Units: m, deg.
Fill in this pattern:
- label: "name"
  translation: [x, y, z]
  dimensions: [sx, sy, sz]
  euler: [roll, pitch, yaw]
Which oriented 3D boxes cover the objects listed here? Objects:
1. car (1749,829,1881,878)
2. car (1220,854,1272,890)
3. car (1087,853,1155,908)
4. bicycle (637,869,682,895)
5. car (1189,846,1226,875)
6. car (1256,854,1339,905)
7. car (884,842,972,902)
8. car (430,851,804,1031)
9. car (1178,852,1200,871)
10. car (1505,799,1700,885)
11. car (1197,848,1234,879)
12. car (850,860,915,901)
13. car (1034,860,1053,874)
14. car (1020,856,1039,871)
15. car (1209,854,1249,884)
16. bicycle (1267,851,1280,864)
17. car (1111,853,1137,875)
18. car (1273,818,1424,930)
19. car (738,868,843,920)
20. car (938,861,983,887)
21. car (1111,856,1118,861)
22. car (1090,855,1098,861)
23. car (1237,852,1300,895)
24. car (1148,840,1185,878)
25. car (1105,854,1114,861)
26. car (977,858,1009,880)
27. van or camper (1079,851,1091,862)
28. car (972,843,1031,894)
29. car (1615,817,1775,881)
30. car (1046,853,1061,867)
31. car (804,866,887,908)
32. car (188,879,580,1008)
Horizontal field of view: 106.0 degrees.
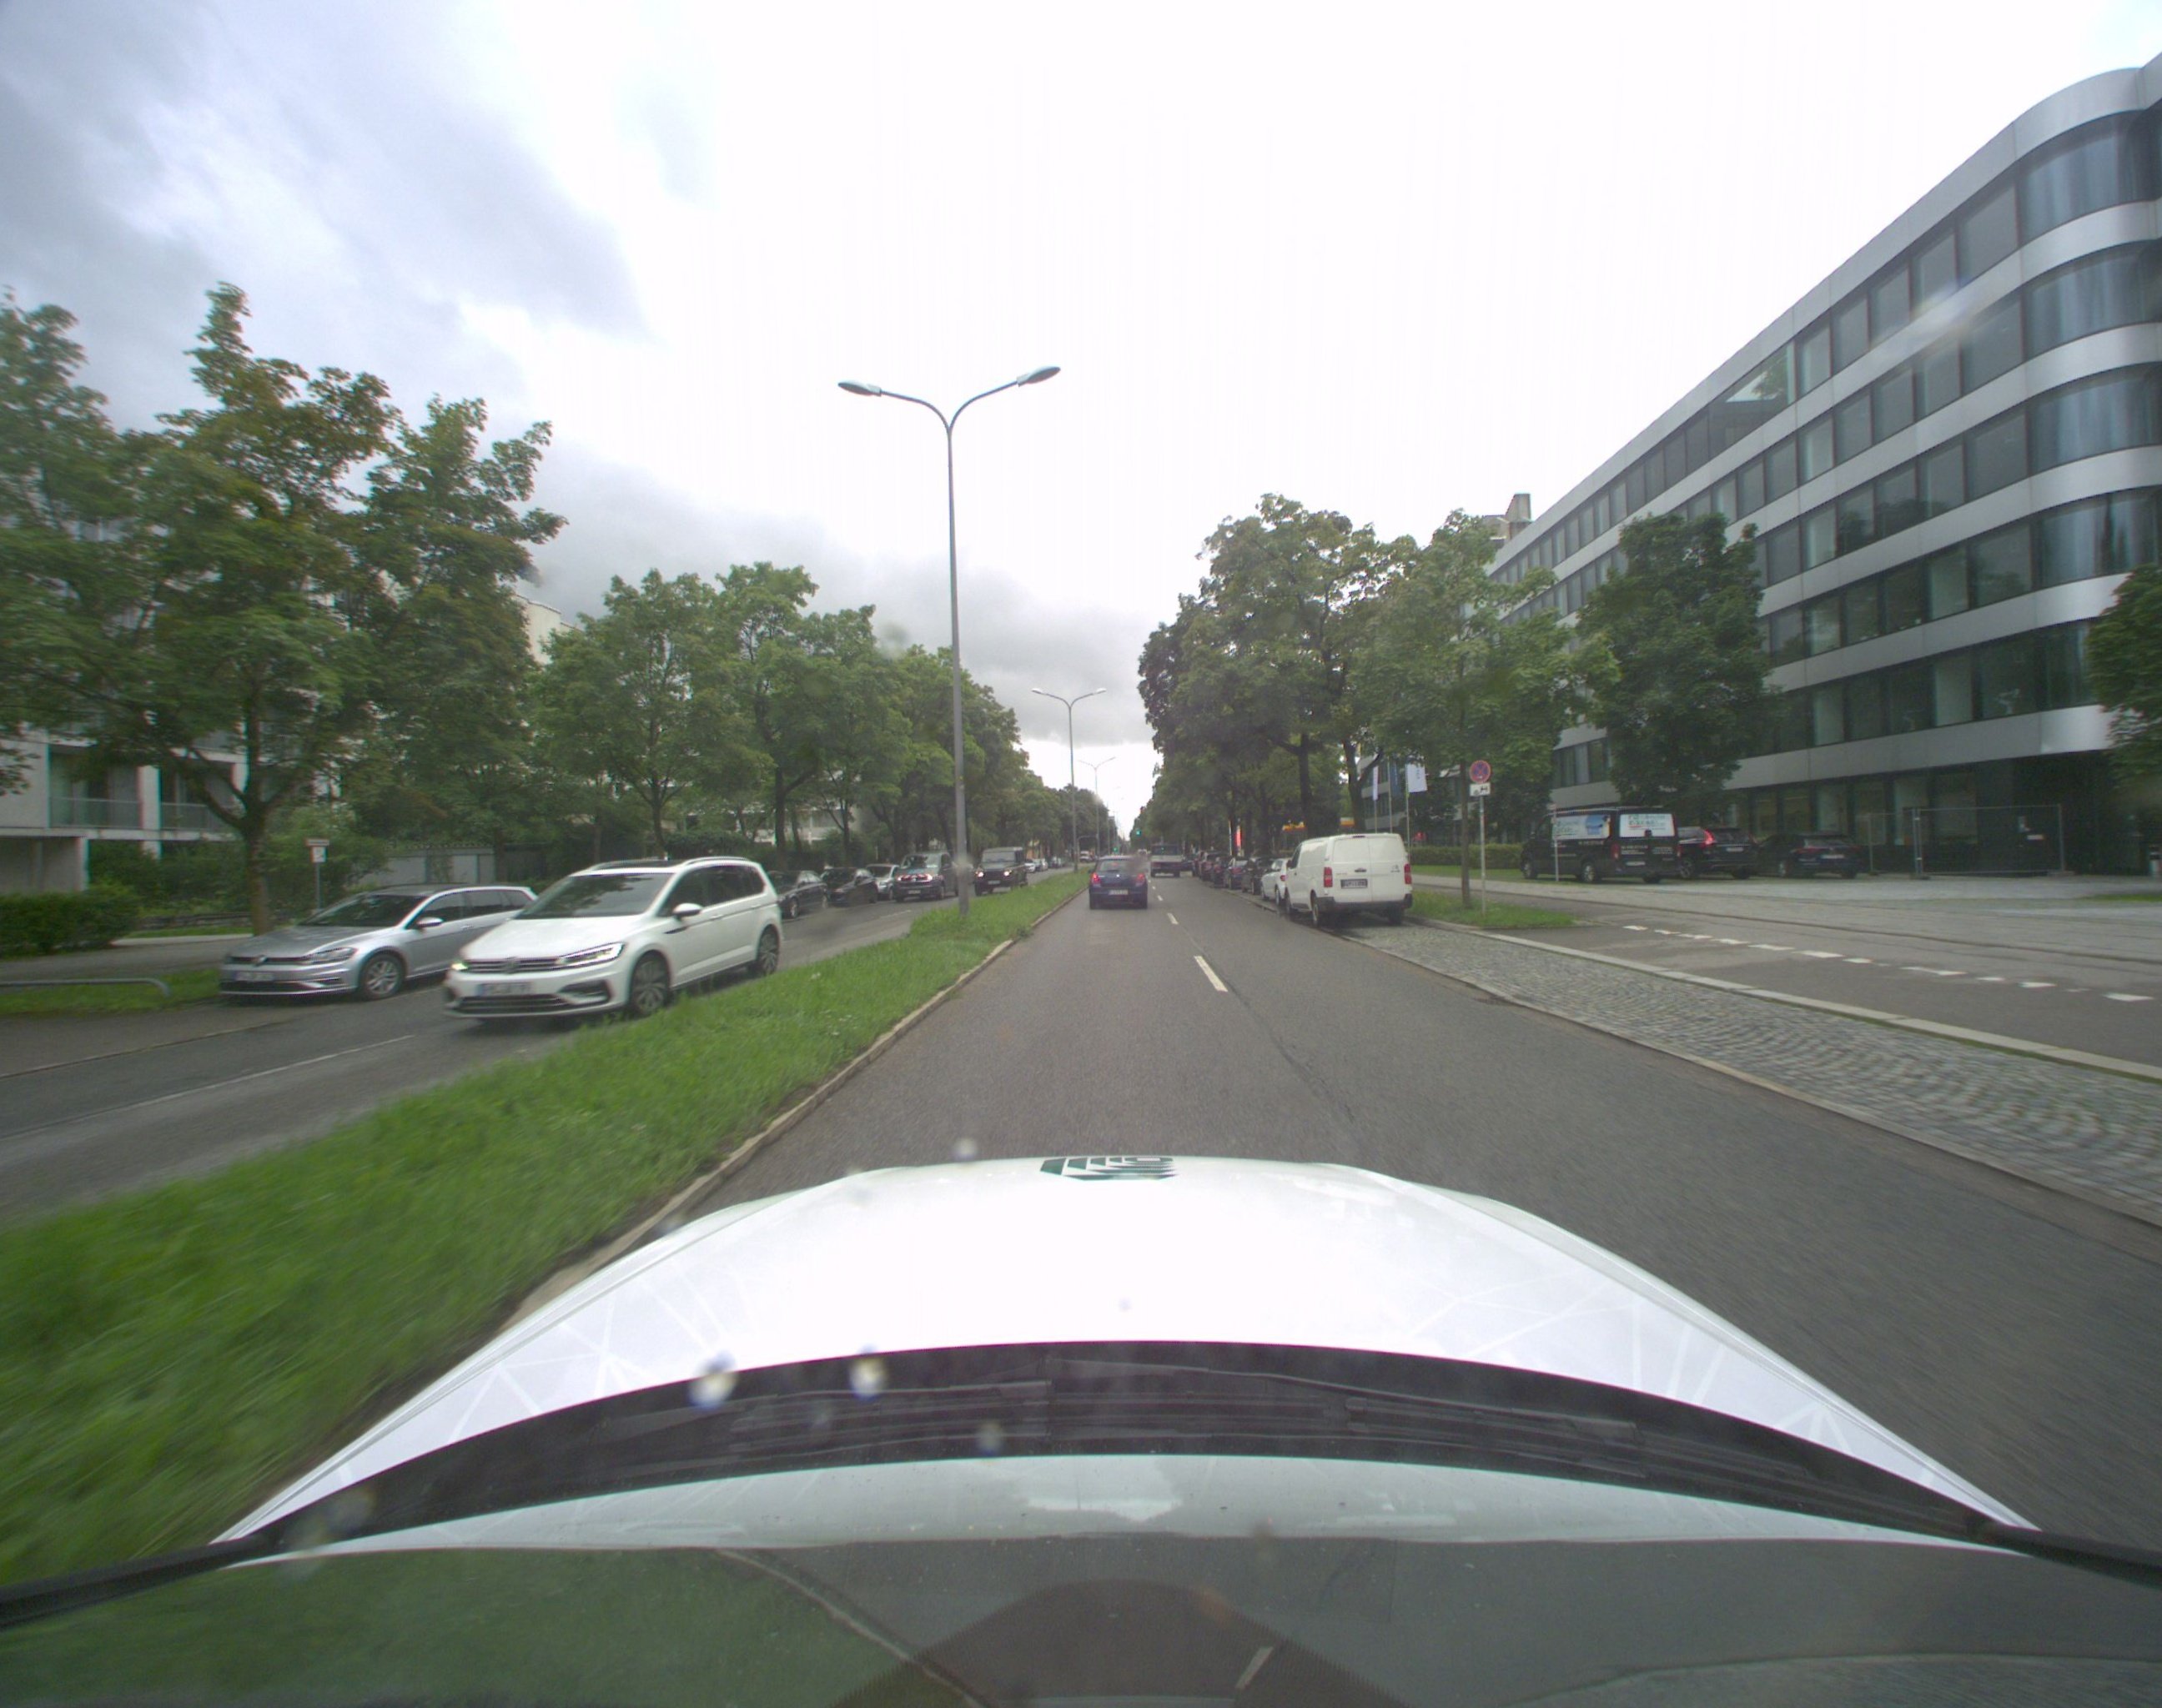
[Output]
- label: "car"
  translation: [22.761, -0.030, 25.461]
  dimensions: [1.767, 1.374, 3.986]
  euler: [-1, 0, 21]
- label: "car"
  translation: [7.309, 0.749, 36.405]
  dimensions: [1.694, 1.421, 4.125]
  euler: [-3, 0, 4]
- label: "car"
  translation: [1.127, 0.744, 24.412]
  dimensions: [1.890, 1.499, 3.660]
  euler: [-1, 0, 0]
- label: "bicycle"
  translation: [-20.737, 1.377, 40.099]
  dimensions: [1.854, 1.226, 0.530]
  euler: [-2, 0, -8]
- label: "car"
  translation: [8.386, 0.418, 54.319]
  dimensions: [1.885, 1.800, 4.865]
  euler: [-3, 0, 3]
- label: "car"
  translation: [6.654, 0.738, 25.453]
  dimensions: [1.694, 1.397, 4.237]
  euler: [-3, 0, 4]
- label: "car"
  translation: [-6.261, 0.693, 34.141]
  dimensions: [2.200, 2.194, 5.804]
  euler: [-4, 0, 3]
- label: "car"
  translation: [-5.162, 0.829, 9.923]
  dimensions: [1.826, 1.642, 4.354]
  euler: [-3, 0, 3]
- label: "car"
  translation: [9.738, 0.654, 73.534]
  dimensions: [1.771, 1.511, 4.291]
  euler: [-4, 0, 5]
- label: "car"
  translation: [16.236, -0.334, 25.932]
  dimensions: [2.256, 2.306, 6.271]
  euler: [-3, 0, 2]
- label: "car"
  translation: [7.909, 0.505, 48.173]
  dimensions: [1.804, 1.675, 4.807]
  euler: [-3, 0, 6]
- label: "car"
  translation: [-8.624, 1.117, 35.715]
  dimensions: [1.618, 1.647, 3.872]
  euler: [1, 0, 4]
- label: "car"
  translation: [-4.176, 1.499, 92.122]
  dimensions: [1.667, 1.475, 4.219]
  euler: [1, 0, 4]
- label: "car"
  translation: [-5.461, 1.016, 86.155]
  dimensions: [1.684, 1.565, 3.080]
  euler: [1, 0, 1]
- label: "car"
  translation: [7.734, 0.746, 42.890]
  dimensions: [1.693, 1.408, 4.520]
  euler: [-3, 0, 6]
- label: "bicycle"
  translation: [17.134, 0.305, 72.532]
  dimensions: [0.745, 1.183, 2.249]
  euler: [-2, 0, 3]
- label: "car"
  translation: [3.143, 0.691, 59.394]
  dimensions: [1.791, 1.499, 3.663]
  euler: [-2, 0, 3]
- label: "car"
  translation: [6.014, 0.399, 19.135]
  dimensions: [1.978, 2.157, 5.561]
  euler: [-3, 0, 4]
- label: "car"
  translation: [-9.205, 1.214, 26.189]
  dimensions: [1.574, 1.423, 4.366]
  euler: [1, 0, 3]
- label: "car"
  translation: [-7.535, 1.223, 51.370]
  dimensions: [1.752, 1.513, 4.953]
  euler: [0, 0, 4]
- label: "car"
  translation: [9.348, 1.294, 225.913]
  dimensions: [1.729, 1.442, 4.109]
  euler: [-3, 0, 5]
- label: "car"
  translation: [3.262, 1.077, 205.508]
  dimensions: [1.629, 1.442, 3.738]
  euler: [-3, 0, 4]
- label: "car"
  translation: [7.109, 0.695, 31.207]
  dimensions: [1.694, 1.446, 3.982]
  euler: [-3, 0, 4]
- label: "car"
  translation: [5.755, 0.327, 55.197]
  dimensions: [2.407, 2.444, 5.094]
  euler: [-1, 0, 5]
- label: "car"
  translation: [6.279, 0.720, 180.115]
  dimensions: [1.731, 1.440, 4.219]
  euler: [-2, 0, 4]
- label: "car"
  translation: [-6.785, 1.156, 63.257]
  dimensions: [1.750, 1.595, 4.492]
  euler: [0, 0, 2]
- label: "van or camper"
  translation: [0.988, 0.523, 185.033]
  dimensions: [2.131, 2.476, 6.265]
  euler: [-3, 0, 4]
- label: "car"
  translation: [-3.398, 0.582, 35.758]
  dimensions: [1.773, 2.029, 4.822]
  euler: [-3, 0, 3]
- label: "car"
  translation: [19.634, -0.145, 26.346]
  dimensions: [1.835, 1.818, 4.474]
  euler: [-3, 0, 2]
- label: "car"
  translation: [-3.709, 0.826, 110.157]
  dimensions: [1.790, 1.763, 5.056]
  euler: [1, 0, 0]
- label: "car"
  translation: [-8.921, 1.216, 31.194]
  dimensions: [1.618, 1.423, 4.197]
  euler: [1, 0, 4]
- label: "car"
  translation: [-10.239, 1.194, 12.631]
  dimensions: [1.729, 1.448, 4.826]
  euler: [1, 0, 3]
